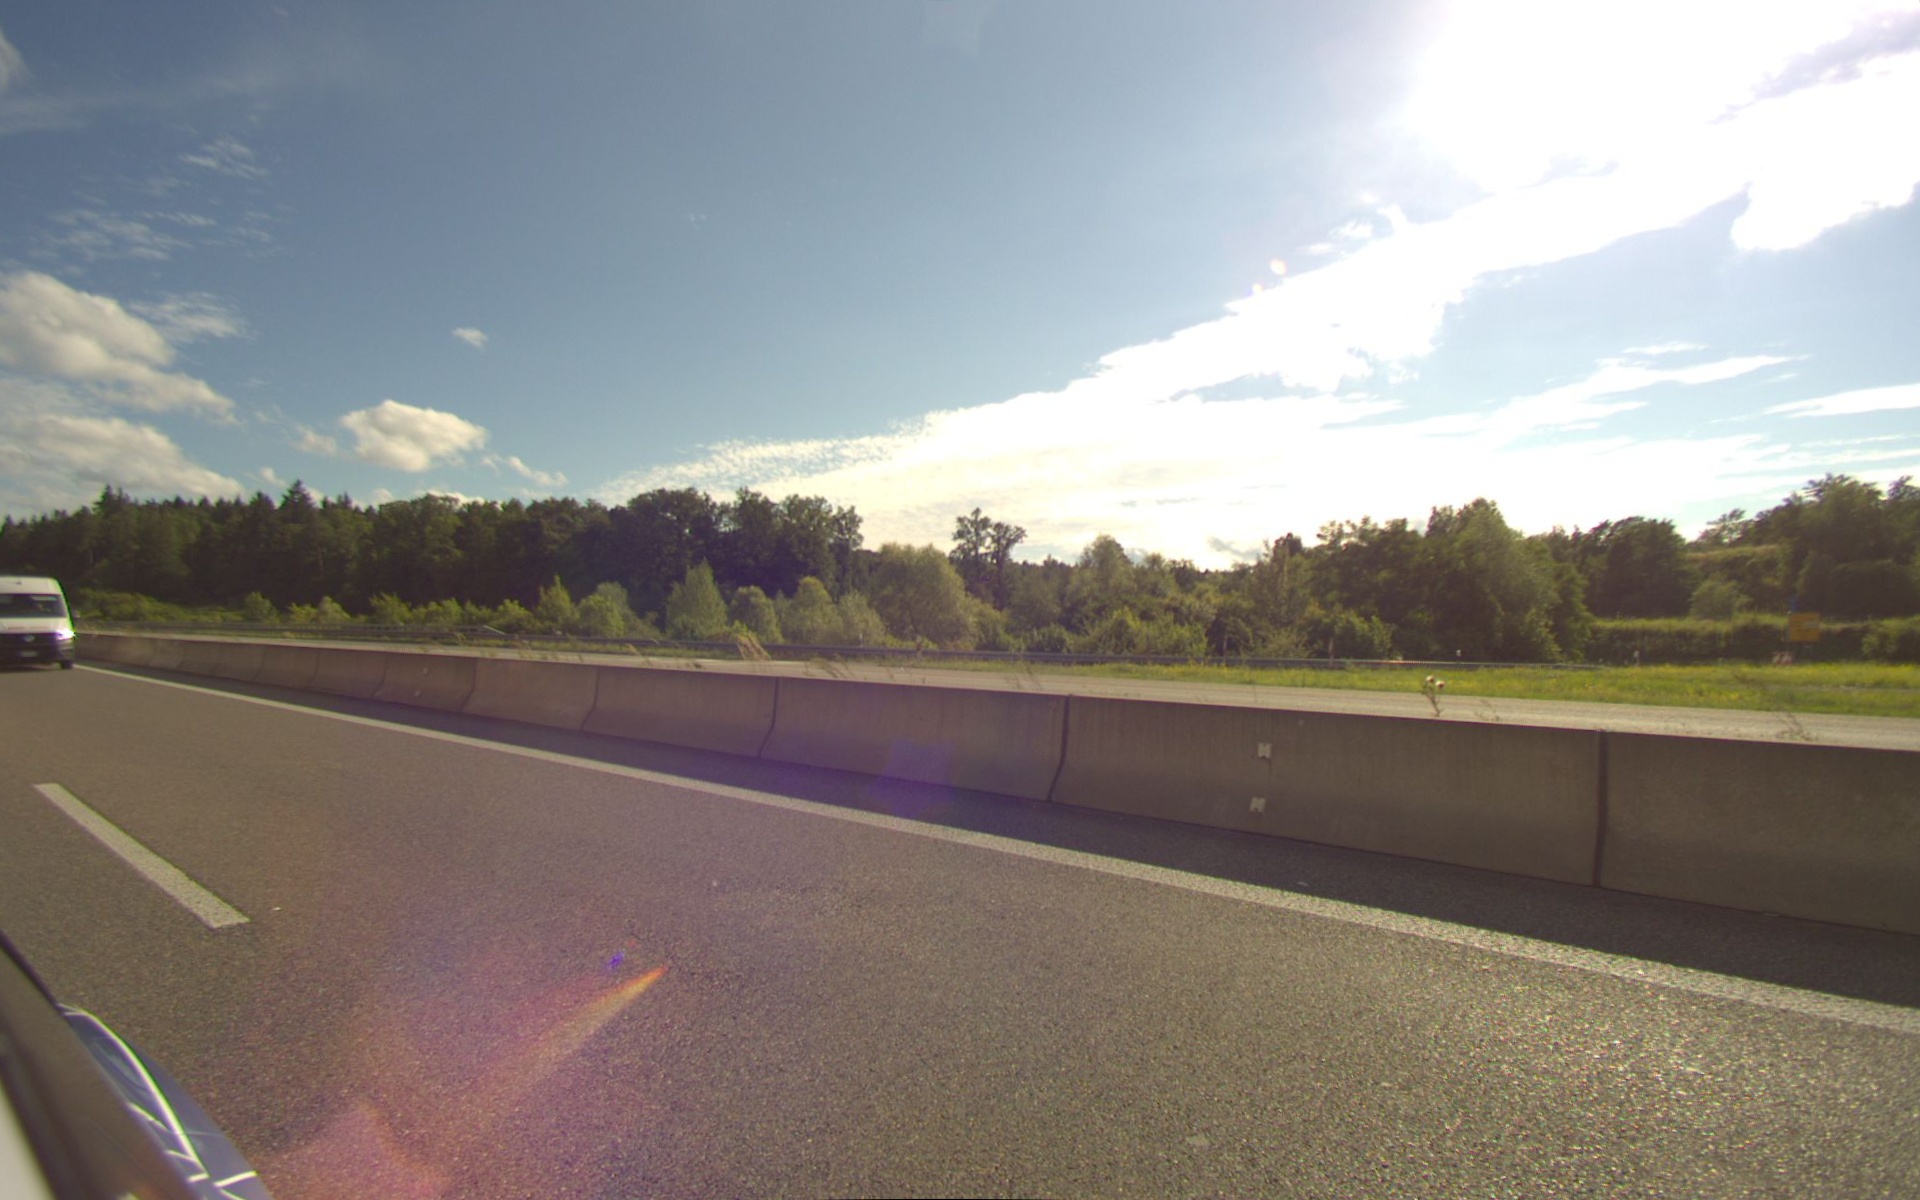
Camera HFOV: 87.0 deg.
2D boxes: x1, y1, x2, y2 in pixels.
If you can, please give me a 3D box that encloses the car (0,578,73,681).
[{"bbox_3d":[-26.462,0.795,28.249,6.182,2.618,1.993,-1,0,43],"label":"car"}]
